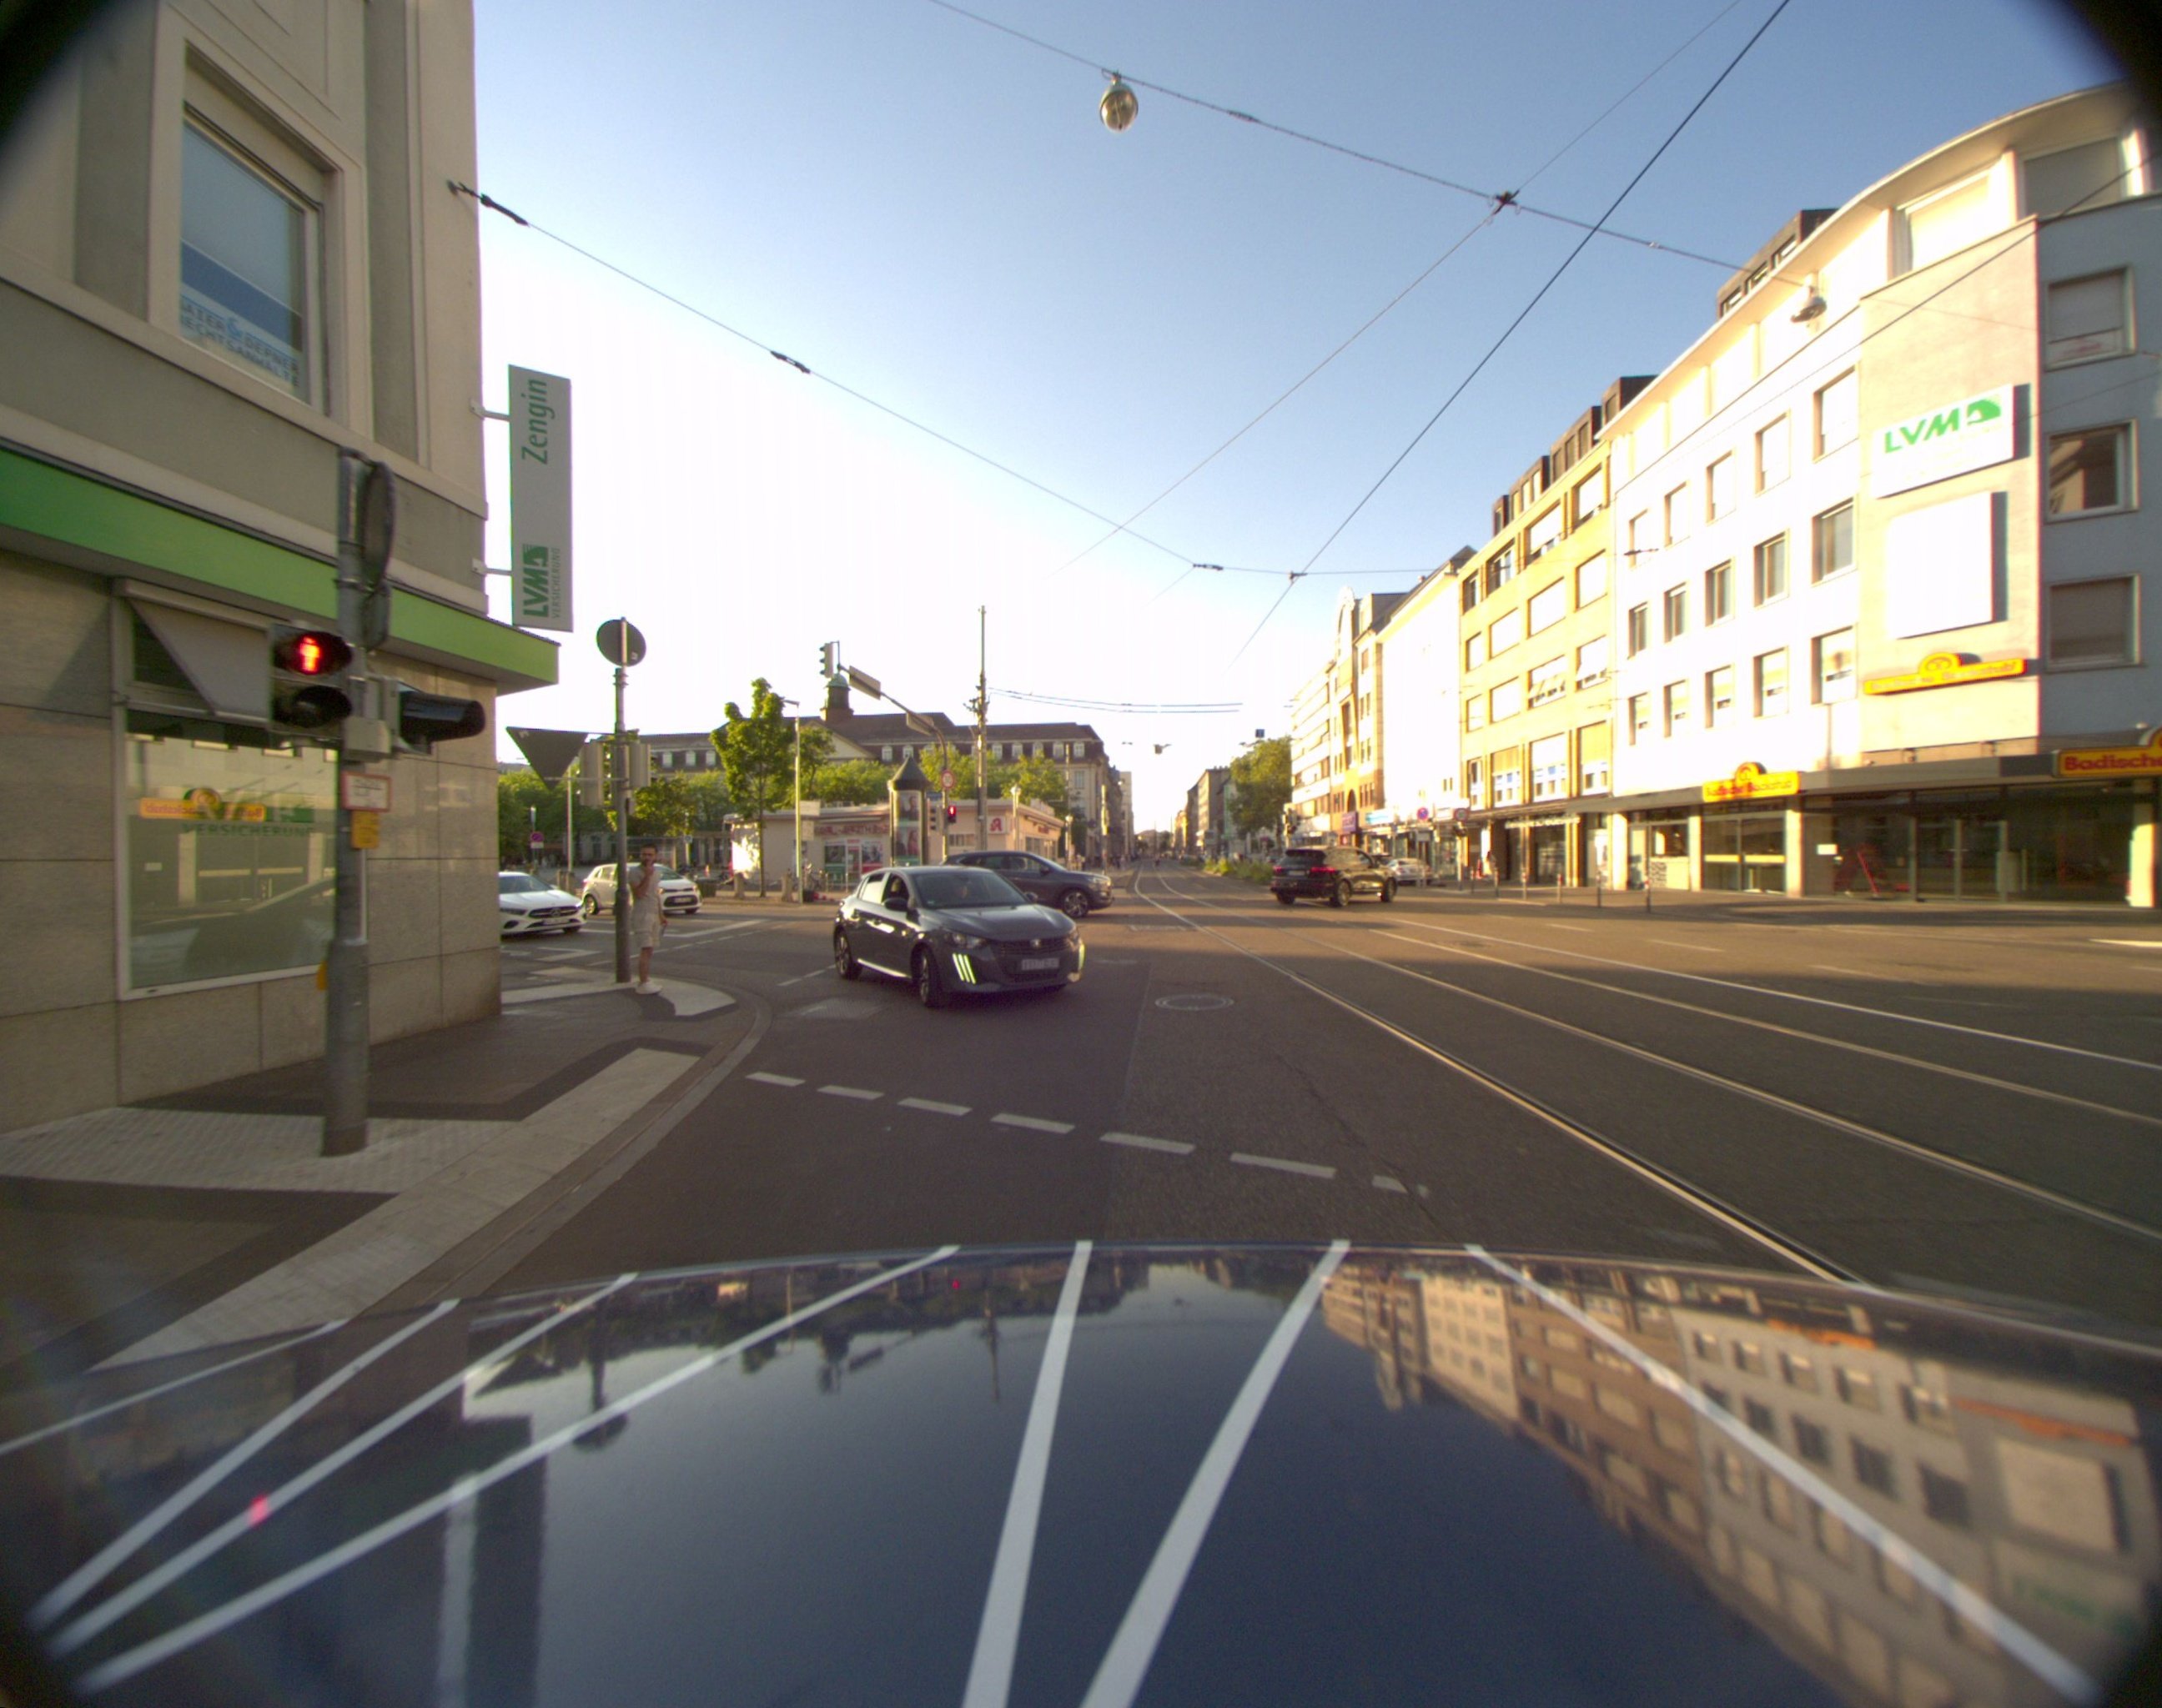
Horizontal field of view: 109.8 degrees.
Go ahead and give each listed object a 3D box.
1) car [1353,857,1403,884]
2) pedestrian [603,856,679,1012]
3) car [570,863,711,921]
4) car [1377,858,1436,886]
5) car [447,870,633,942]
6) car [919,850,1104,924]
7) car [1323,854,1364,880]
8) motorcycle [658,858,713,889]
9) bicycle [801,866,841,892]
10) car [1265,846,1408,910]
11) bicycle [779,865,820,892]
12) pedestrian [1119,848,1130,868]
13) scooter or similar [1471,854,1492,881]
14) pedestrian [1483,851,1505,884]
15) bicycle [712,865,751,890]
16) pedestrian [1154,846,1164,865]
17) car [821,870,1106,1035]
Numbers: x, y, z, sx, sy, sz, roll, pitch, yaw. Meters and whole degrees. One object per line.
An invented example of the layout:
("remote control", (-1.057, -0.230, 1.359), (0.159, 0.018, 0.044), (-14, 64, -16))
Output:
("car", (16.334, 0.867, 41.902), (1.635, 1.345, 3.390), (-3, -1, 5))
("pedestrian", (-5.159, 0.900, 8.951), (0.654, 1.732, 0.693), (-1, 1, -23))
("car", (-12.741, 1.030, 21.954), (3.974, 1.463, 1.723), (0, 1, 29))
("car", (15.950, 0.851, 37.390), (1.635, 1.246, 3.390), (-3, -1, 5))
("car", (-12.657, 1.140, 17.776), (3.975, 1.463, 1.831), (-1, 1, 26))
("car", (-1.593, 0.768, 18.571), (4.255, 1.688, 1.829), (-1, 0, 3))
("car", (16.632, 0.812, 48.327), (1.635, 1.455, 3.390), (-3, -1, 5))
("motorcycle", (-19.654, 0.959, 37.836), (0.699, 1.437, 2.405), (0, 0, 28))
("bicycle", (-11.525, 1.104, 33.718), (0.447, 1.107, 1.875), (1, 1, 30))
("car", (7.516, 0.638, 22.125), (4.578, 1.688, 1.801), (-1, 0, -40))
("bicycle", (-12.623, 1.084, 34.123), (0.447, 1.107, 1.875), (1, 1, 30))
("pedestrian", (4.543, 0.422, 79.832), (0.839, 2.003, 0.716), (0, 4, 29))
("scooter or similar", (19.590, 0.648, 37.170), (0.395, 1.251, 1.467), (-2, 0, 7))
("pedestrian", (19.072, 0.625, 35.080), (0.544, 1.463, 0.624), (-4, 0, -11))
("bicycle", (-16.745, 1.118, 36.435), (0.395, 1.096, 1.815), (0, 1, 28))
("pedestrian", (8.440, 0.144, 82.286), (0.716, 2.003, 0.839), (-4, 4, -33))
("car", (-1.607, 0.960, 9.083), (1.755, 1.434, 3.896), (-3, 1, -35))
